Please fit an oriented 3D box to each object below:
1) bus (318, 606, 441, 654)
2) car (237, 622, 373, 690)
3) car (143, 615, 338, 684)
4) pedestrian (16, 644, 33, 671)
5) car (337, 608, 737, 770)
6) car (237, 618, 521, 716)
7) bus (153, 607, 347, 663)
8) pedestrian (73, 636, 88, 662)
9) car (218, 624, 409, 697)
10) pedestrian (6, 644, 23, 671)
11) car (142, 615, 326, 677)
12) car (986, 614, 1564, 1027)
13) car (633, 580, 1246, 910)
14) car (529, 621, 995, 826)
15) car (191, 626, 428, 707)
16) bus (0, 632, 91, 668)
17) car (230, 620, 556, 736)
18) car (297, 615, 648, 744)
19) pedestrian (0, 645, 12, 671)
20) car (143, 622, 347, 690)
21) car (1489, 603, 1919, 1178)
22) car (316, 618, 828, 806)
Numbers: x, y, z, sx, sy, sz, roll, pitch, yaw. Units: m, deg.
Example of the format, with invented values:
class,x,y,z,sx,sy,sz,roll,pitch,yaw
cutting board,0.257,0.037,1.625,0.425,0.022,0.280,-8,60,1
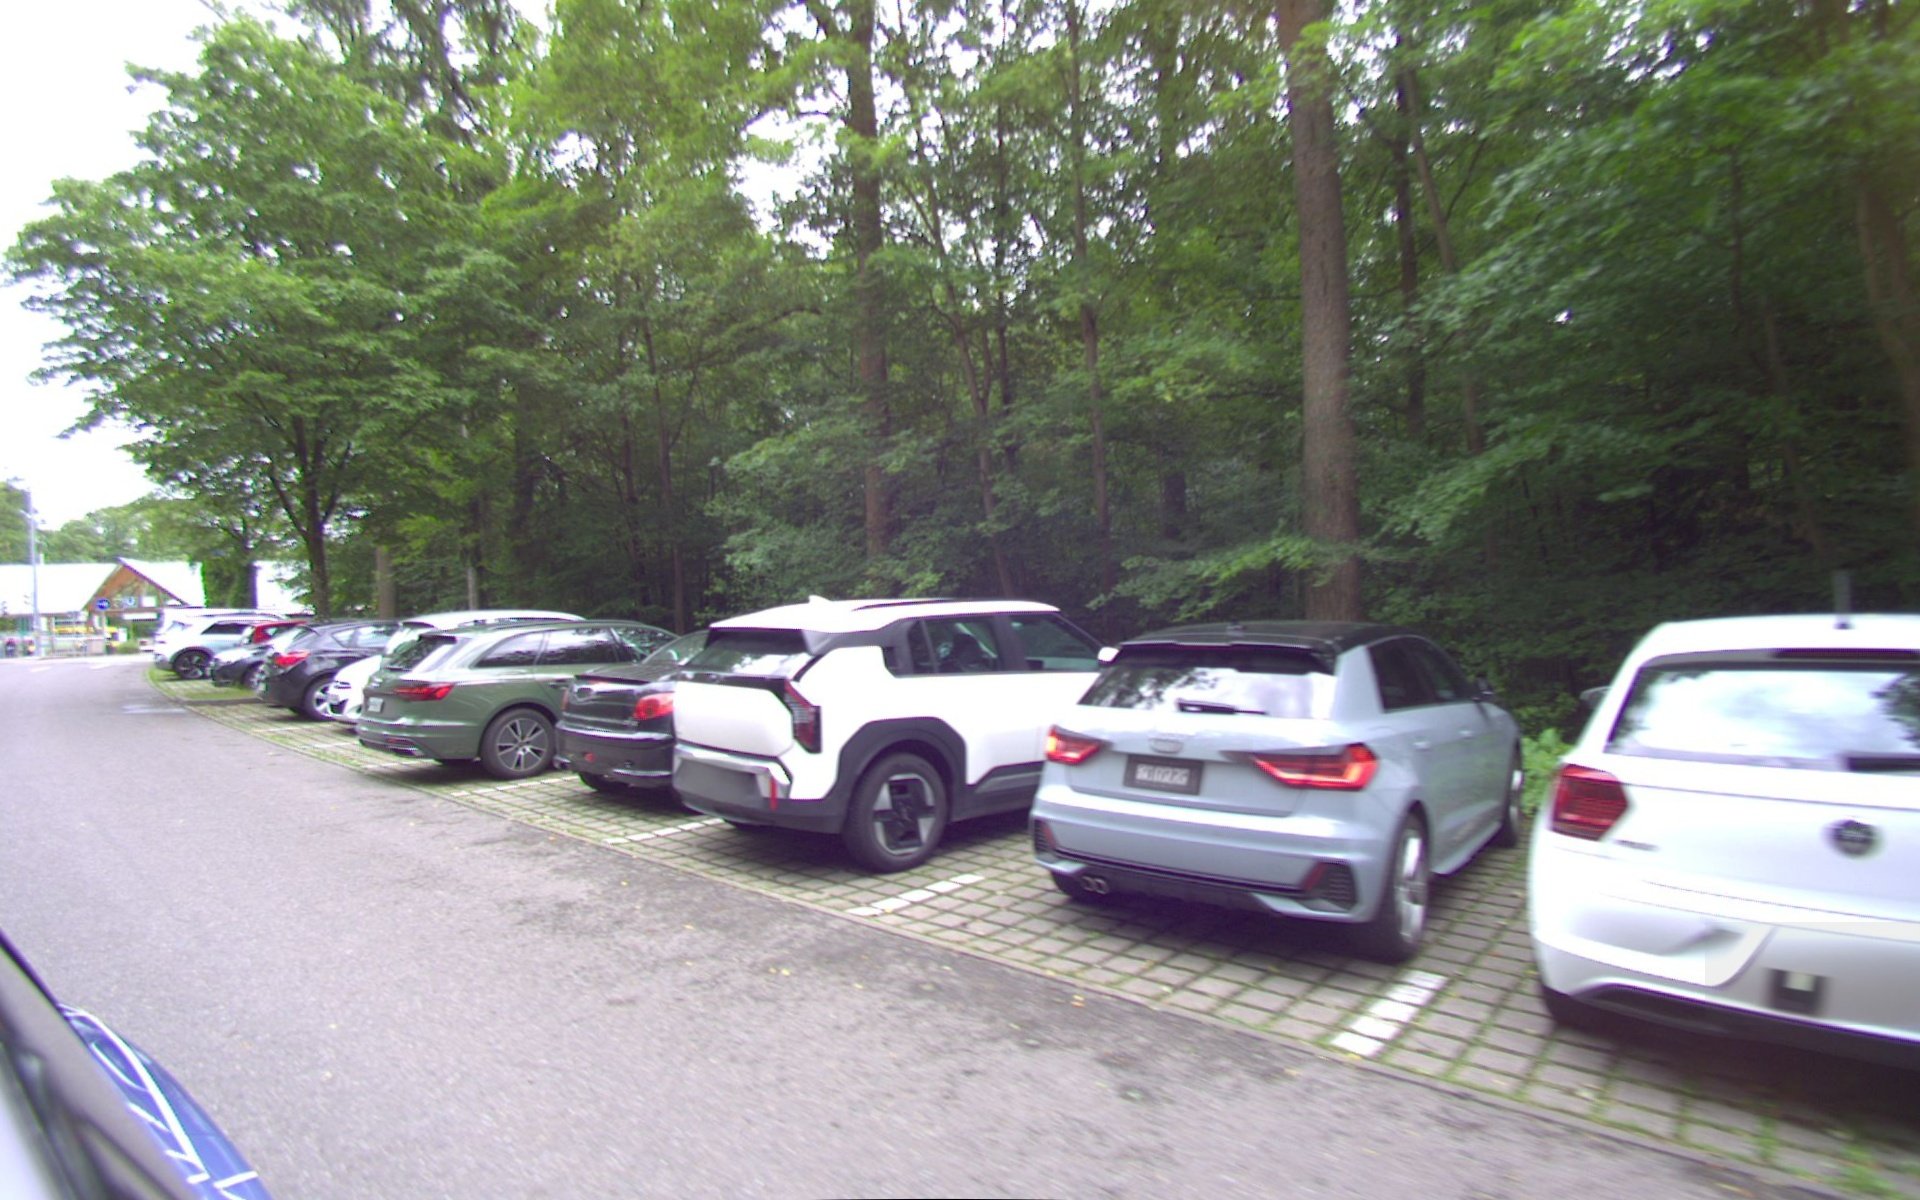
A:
class,x,y,z,sx,sy,sz,roll,pitch,yaw
bus,-42.097,2.138,73.681,2.792,3.183,7.702,-4,-2,21
car,-16.397,1.366,25.383,2.628,1.553,1.447,-1,-1,-43
car,-20.439,1.352,28.867,4.368,1.707,2.175,-1,-1,-38
pedestrian,-65.064,4.011,70.367,0.663,1.771,0.596,-5,-2,19
car,-5.100,0.947,12.632,1.969,1.660,4.189,-2,-2,41
car,-10.415,1.117,18.354,4.184,1.484,1.721,-1,0,-44
bus,-45.315,2.167,65.165,2.792,3.183,10.445,-4,-2,20
pedestrian,-61.402,3.434,70.673,0.668,1.771,0.647,-5,-2,43
car,-14.928,1.342,23.438,3.562,1.485,1.677,0,-2,-40
pedestrian,-65.179,3.983,69.765,0.663,1.771,0.596,-5,-2,19
car,-24.752,1.512,34.704,5.018,1.930,1.983,0,-1,-35
car,2.012,0.812,5.635,1.894,1.432,3.767,-2,-1,37
car,0.001,0.748,7.089,3.911,1.640,2.001,0,-2,-40
car,-1.556,0.891,8.905,1.729,1.366,3.749,-2,-2,42
car,-13.594,1.320,21.283,3.940,1.502,1.709,1,-2,-44
bus,-101.423,5.351,107.826,3.916,3.509,18.609,-4,-1,-8
car,-8.931,1.124,16.139,4.183,1.541,2.008,0,-1,-43
car,-6.803,1.007,14.468,1.762,1.545,4.187,-2,-2,43
pedestrian,-65.858,4.002,69.633,0.555,1.771,0.667,-4,-2,5
car,-18.913,1.413,26.854,4.300,1.610,2.034,0,-1,-39
car,3.575,0.733,3.931,1.871,1.430,3.687,-2,-2,41
car,-3.829,0.964,10.625,2.095,1.489,4.589,-2,-2,43
